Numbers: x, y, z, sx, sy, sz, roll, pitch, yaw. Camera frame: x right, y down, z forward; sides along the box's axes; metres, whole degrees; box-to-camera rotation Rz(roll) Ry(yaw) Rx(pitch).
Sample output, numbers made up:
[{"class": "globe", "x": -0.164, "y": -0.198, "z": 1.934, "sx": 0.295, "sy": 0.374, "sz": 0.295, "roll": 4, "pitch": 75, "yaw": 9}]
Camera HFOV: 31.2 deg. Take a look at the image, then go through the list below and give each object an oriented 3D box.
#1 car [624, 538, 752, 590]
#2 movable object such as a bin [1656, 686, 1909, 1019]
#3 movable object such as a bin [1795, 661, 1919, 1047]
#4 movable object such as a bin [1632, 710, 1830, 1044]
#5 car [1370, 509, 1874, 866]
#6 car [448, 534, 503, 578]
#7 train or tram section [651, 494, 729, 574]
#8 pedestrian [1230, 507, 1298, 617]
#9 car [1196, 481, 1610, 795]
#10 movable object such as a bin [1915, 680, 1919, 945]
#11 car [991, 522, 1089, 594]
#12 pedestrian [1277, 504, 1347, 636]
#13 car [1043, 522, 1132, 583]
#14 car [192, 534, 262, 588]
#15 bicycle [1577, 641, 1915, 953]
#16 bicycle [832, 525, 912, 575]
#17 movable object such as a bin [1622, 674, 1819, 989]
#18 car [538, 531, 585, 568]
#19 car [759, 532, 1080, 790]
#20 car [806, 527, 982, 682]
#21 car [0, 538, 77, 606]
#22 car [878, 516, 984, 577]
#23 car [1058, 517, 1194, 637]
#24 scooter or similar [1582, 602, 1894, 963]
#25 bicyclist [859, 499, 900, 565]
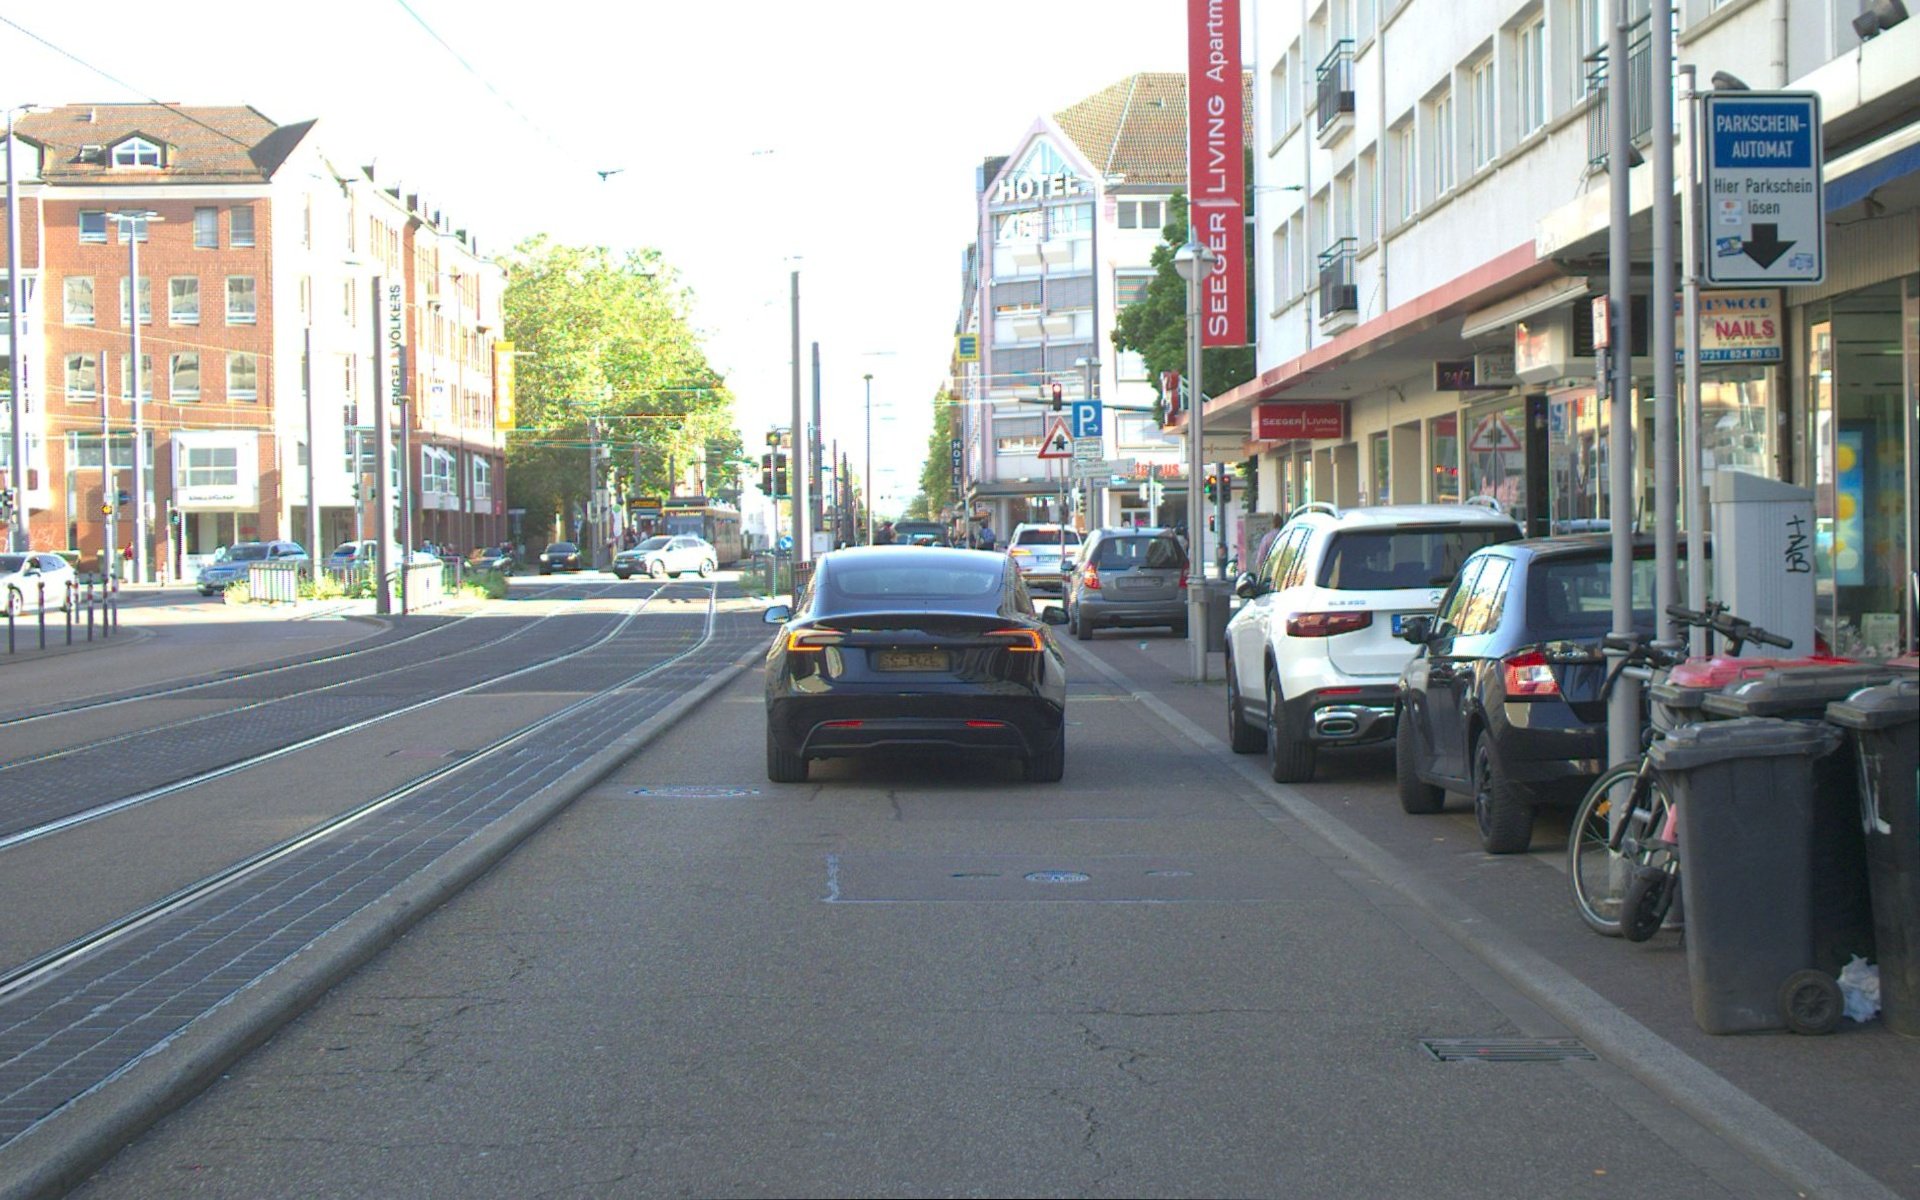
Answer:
[{"class": "car", "x": -9.487, "y": -1.275, "z": 120.181, "sx": 3.988, "sy": 1.733, "sz": 2.000, "roll": -2, "pitch": 1, "yaw": -37}, {"class": "movable object such as a bin", "x": 2.632, "y": 0.800, "z": 11.043, "sx": 0.686, "sy": 1.010, "sz": 0.508, "roll": -1, "pitch": 1, "yaw": 2}, {"class": "movable object such as a bin", "x": 2.928, "y": 0.738, "z": 10.287, "sx": 0.690, "sy": 1.085, "sz": 0.685, "roll": -2, "pitch": 1, "yaw": 3}, {"class": "movable object such as a bin", "x": 2.327, "y": 0.828, "z": 10.403, "sx": 0.487, "sy": 0.955, "sz": 0.457, "roll": -2, "pitch": 1, "yaw": 3}, {"class": "car", "x": 3.139, "y": 0.355, "z": 17.071, "sx": 1.614, "sy": 1.523, "sz": 4.071, "roll": -1, "pitch": 1, "yaw": -1}, {"class": "car", "x": -22.540, "y": -2.052, "z": 160.132, "sx": 1.993, "sy": 2.007, "sz": 4.000, "roll": 1, "pitch": 1, "yaw": -1}, {"class": "train or tram section", "x": -13.234, "y": -3.220, "z": 169.552, "sx": 2.674, "sy": 3.703, "sz": 14.193, "roll": 1, "pitch": 1, "yaw": 0}, {"class": "pedestrian", "x": 4.701, "y": -0.586, "z": 53.138, "sx": 0.818, "sy": 1.677, "sz": 0.714, "roll": 2, "pitch": 1, "yaw": 23}, {"class": "car", "x": 2.716, "y": 0.182, "z": 22.253, "sx": 1.849, "sy": 1.718, "sz": 5.193, "roll": -2, "pitch": 1, "yaw": -1}, {"class": "movable object such as a bin", "x": 3.472, "y": 0.768, "z": 10.989, "sx": 0.658, "sy": 1.010, "sz": 0.636, "roll": -1, "pitch": 1, "yaw": 2}, {"class": "car", "x": 1.759, "y": -0.948, "z": 76.557, "sx": 1.783, "sy": 1.514, "sz": 4.219, "roll": 1, "pitch": 1, "yaw": -4}, {"class": "pedestrian", "x": 4.812, "y": -0.415, "z": 46.958, "sx": 0.804, "sy": 1.768, "sz": 0.932, "roll": -1, "pitch": 1, "yaw": 14}, {"class": "car", "x": 3.320, "y": -1.248, "z": 89.947, "sx": 1.824, "sy": 1.514, "sz": 3.650, "roll": 1, "pitch": 1, "yaw": -6}, {"class": "car", "x": -21.444, "y": -1.153, "z": 100.476, "sx": 1.880, "sy": 1.490, "sz": 4.932, "roll": -1, "pitch": 1, "yaw": -13}, {"class": "bicycle", "x": 2.888, "y": 0.717, "z": 12.658, "sx": 1.131, "sy": 1.076, "sz": 0.320, "roll": -2, "pitch": 1, "yaw": -2}, {"class": "bicycle", "x": -2.009, "y": -1.142, "z": 78.613, "sx": 1.727, "sy": 1.084, "sz": 0.678, "roll": 1, "pitch": 1, "yaw": -8}, {"class": "movable object such as a bin", "x": 2.584, "y": 0.773, "z": 11.719, "sx": 0.522, "sy": 1.010, "sz": 0.671, "roll": -1, "pitch": 1, "yaw": 2}, {"class": "car", "x": -18.876, "y": -2.389, "z": 162.880, "sx": 1.751, "sy": 1.645, "sz": 4.000, "roll": 1, "pitch": 1, "yaw": 0}, {"class": "car", "x": -0.289, "y": 0.333, "z": 21.934, "sx": 1.849, "sy": 1.479, "sz": 3.787, "roll": 1, "pitch": 1, "yaw": -2}, {"class": "car", "x": -0.625, "y": -0.001, "z": 34.748, "sx": 1.653, "sy": 1.413, "sz": 4.000, "roll": 1, "pitch": 2, "yaw": 0}, {"class": "car", "x": -21.451, "y": -0.656, "z": 77.616, "sx": 1.903, "sy": 1.459, "sz": 4.000, "roll": 1, "pitch": 1, "yaw": 1}, {"class": "car", "x": -0.780, "y": -1.388, "z": 88.986, "sx": 1.824, "sy": 1.514, "sz": 4.219, "roll": 1, "pitch": 1, "yaw": -13}, {"class": "car", "x": 2.380, "y": -0.364, "z": 50.081, "sx": 1.745, "sy": 1.626, "sz": 3.649, "roll": -2, "pitch": 1, "yaw": 0}, {"class": "scooter or similar", "x": 2.774, "y": 0.644, "z": 12.285, "sx": 0.992, "sy": 1.227, "sz": 0.320, "roll": -2, "pitch": 1, "yaw": -2}, {"class": "bicyclist", "x": -1.847, "y": -1.555, "z": 78.718, "sx": 0.836, "sy": 1.494, "sz": 0.560, "roll": 1, "pitch": 1, "yaw": -8}]
